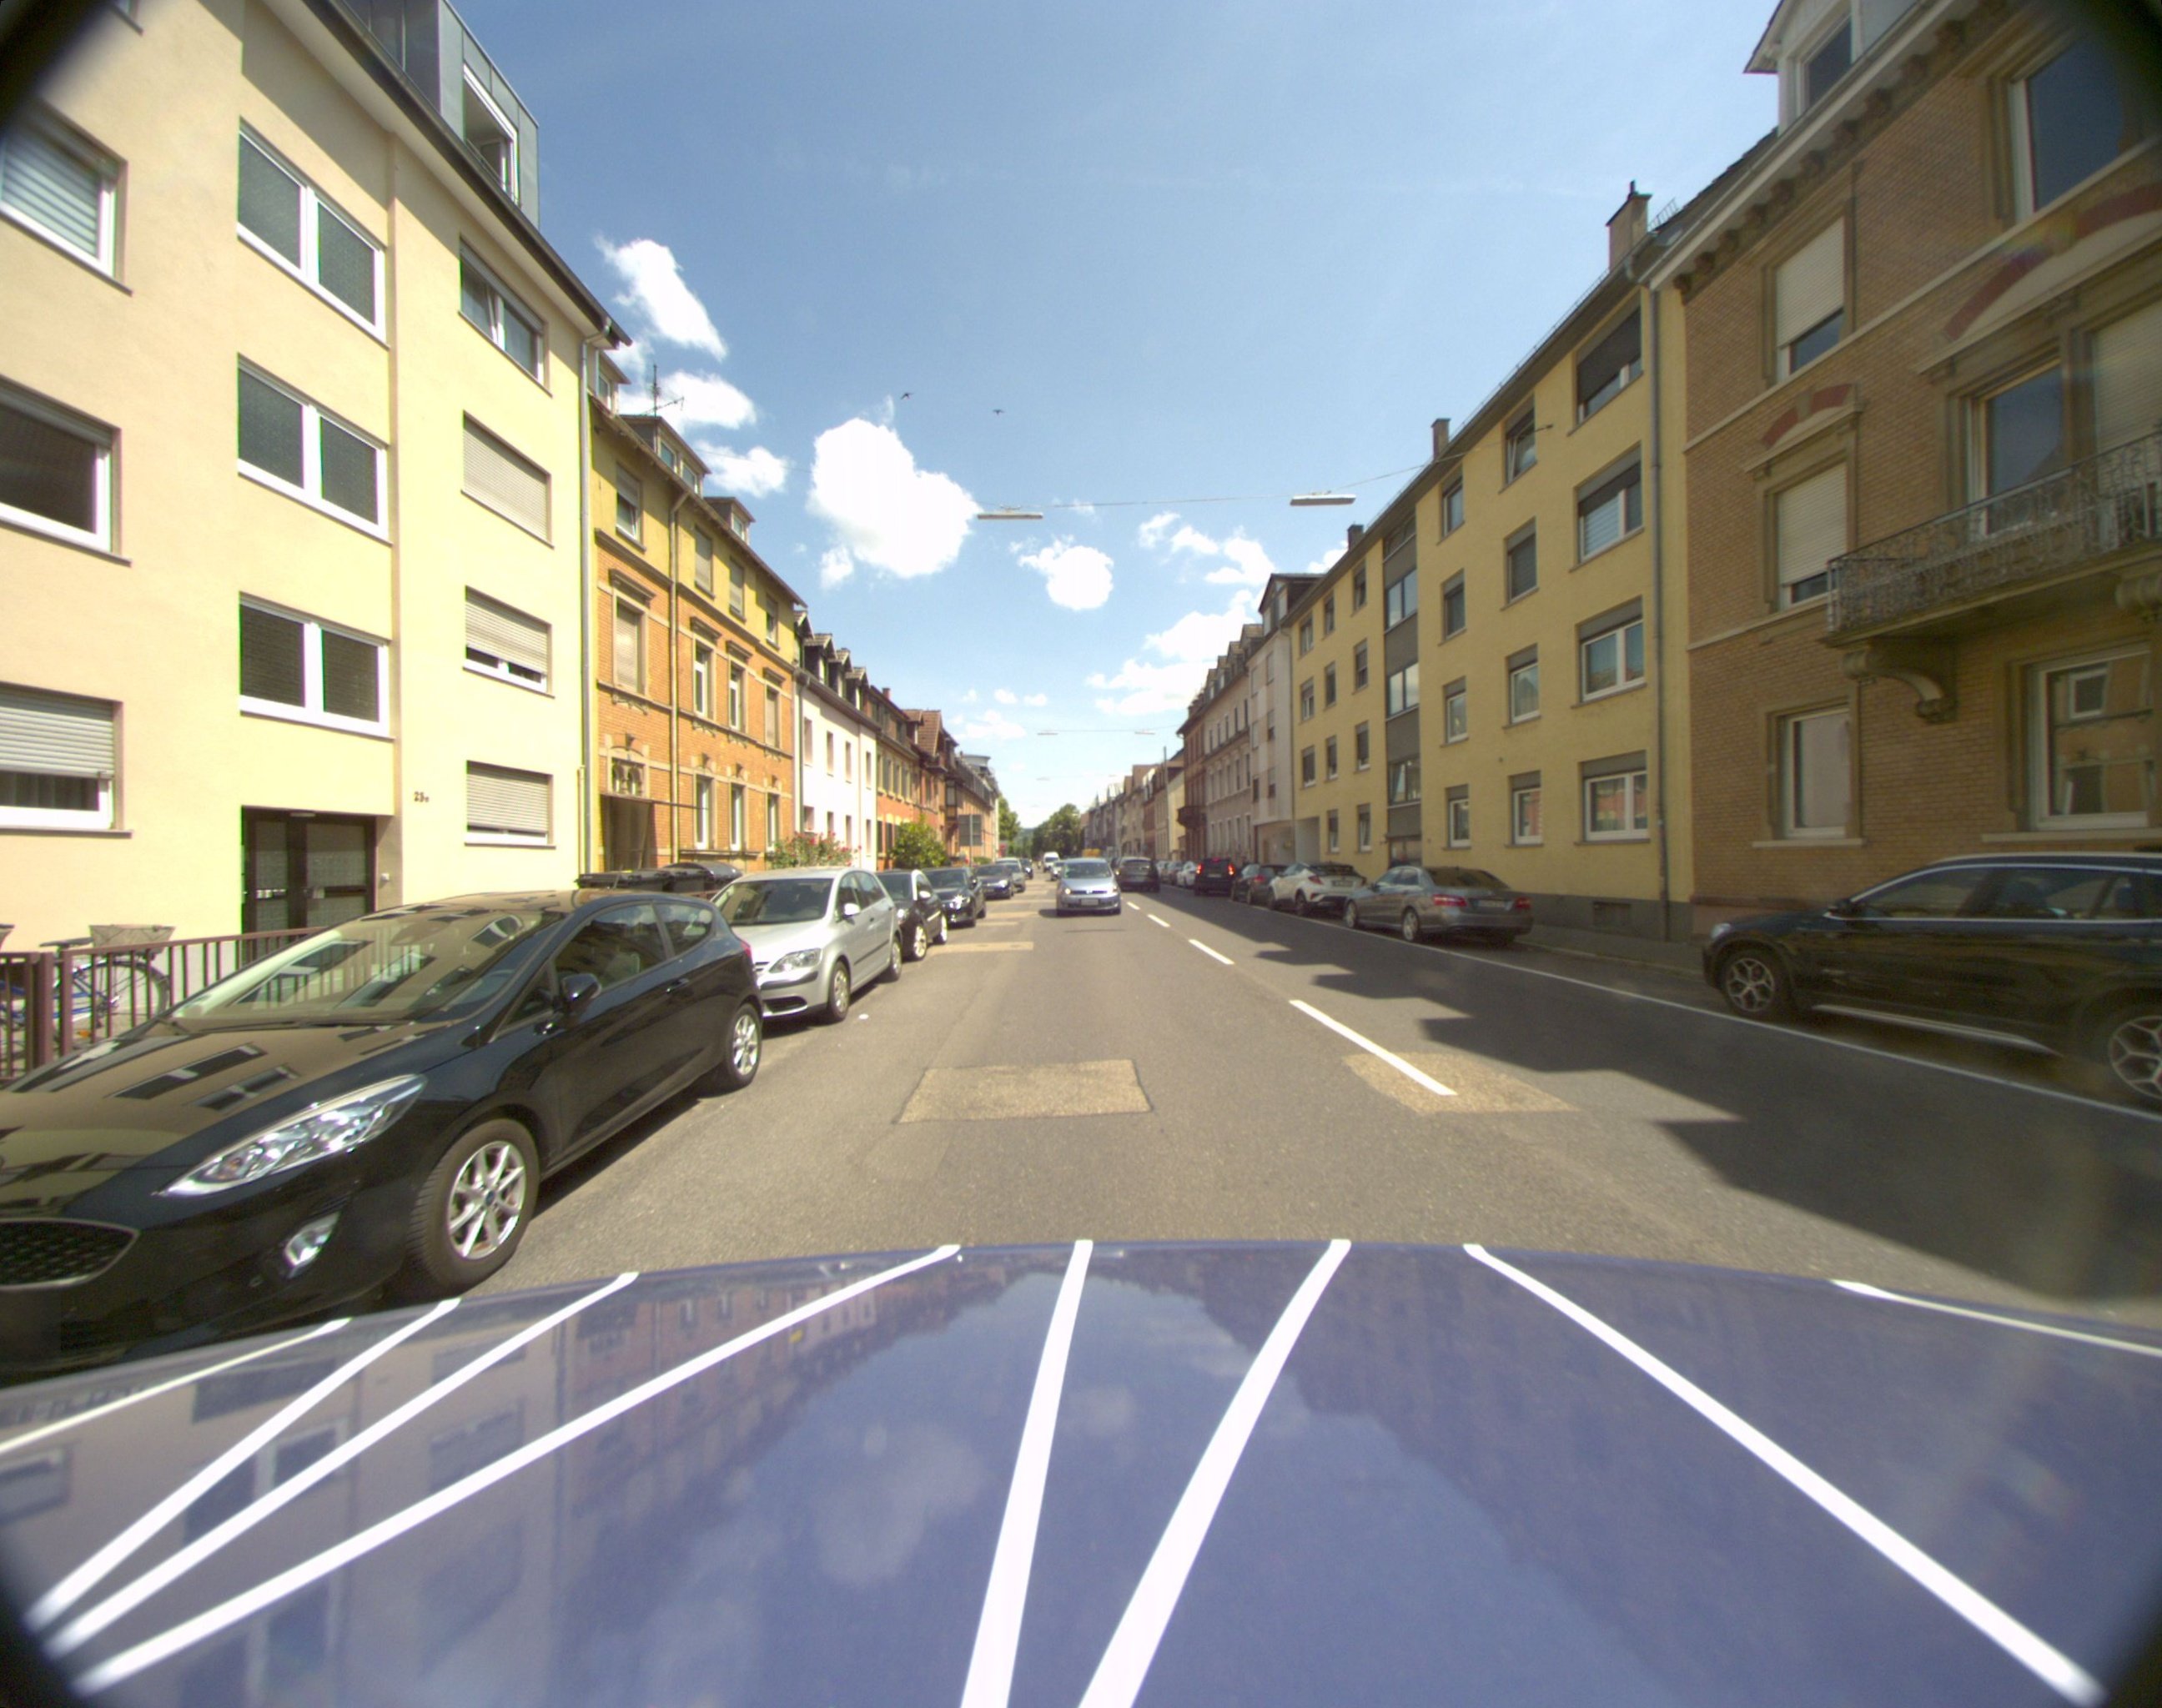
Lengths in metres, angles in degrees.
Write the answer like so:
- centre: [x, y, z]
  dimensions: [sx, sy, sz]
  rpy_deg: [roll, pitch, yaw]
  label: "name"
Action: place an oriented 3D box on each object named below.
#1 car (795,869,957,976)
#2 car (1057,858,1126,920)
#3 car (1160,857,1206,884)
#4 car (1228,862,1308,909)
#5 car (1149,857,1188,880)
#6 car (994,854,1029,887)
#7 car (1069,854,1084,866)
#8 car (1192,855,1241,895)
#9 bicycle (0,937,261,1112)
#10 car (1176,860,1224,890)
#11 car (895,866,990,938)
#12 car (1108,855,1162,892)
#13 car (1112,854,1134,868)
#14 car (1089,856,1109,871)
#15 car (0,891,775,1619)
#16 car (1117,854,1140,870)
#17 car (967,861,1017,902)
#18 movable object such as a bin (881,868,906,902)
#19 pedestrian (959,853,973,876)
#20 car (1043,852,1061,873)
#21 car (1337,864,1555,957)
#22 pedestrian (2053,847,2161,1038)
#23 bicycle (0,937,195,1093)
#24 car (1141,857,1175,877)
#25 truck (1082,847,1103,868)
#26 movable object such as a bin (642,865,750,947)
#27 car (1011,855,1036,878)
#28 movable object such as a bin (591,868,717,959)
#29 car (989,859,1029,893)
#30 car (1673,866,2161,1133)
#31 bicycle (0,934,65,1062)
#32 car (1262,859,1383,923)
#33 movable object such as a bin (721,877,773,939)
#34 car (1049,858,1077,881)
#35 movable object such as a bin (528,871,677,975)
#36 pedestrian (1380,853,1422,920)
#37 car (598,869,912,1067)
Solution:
- centre: [-3.439, 1.081, 13.542]
  dimensions: [1.762, 1.470, 3.931]
  rpy_deg: [-3, 0, -1]
  label: "car"
- centre: [0.224, 0.929, 21.919]
  dimensions: [1.759, 1.559, 3.999]
  rpy_deg: [-2, 0, -1]
  label: "car"
- centre: [5.958, 0.948, 44.760]
  dimensions: [1.750, 1.402, 4.511]
  rpy_deg: [2, 0, -4]
  label: "car"
- centre: [6.422, 1.043, 26.524]
  dimensions: [1.749, 1.402, 3.914]
  rpy_deg: [2, 0, -1]
  label: "car"
- centre: [5.844, 0.933, 51.110]
  dimensions: [1.750, 1.402, 4.102]
  rpy_deg: [2, 0, -5]
  label: "car"
- centre: [-3.905, 0.920, 43.332]
  dimensions: [1.709, 1.700, 3.930]
  rpy_deg: [-3, 0, -2]
  label: "car"
- centre: [-0.639, 0.727, 98.430]
  dimensions: [1.810, 1.522, 3.999]
  rpy_deg: [1, 0, -2]
  label: "car"
- centre: [5.944, 0.875, 33.034]
  dimensions: [1.747, 1.579, 3.957]
  rpy_deg: [2, 0, 14]
  label: "car"
- centre: [-7.125, 1.174, 5.449]
  dimensions: [0.552, 0.977, 1.631]
  rpy_deg: [-1, 0, 10]
  label: "bicycle"
- centre: [6.093, 1.050, 39.350]
  dimensions: [1.749, 1.402, 4.284]
  rpy_deg: [2, 0, -1]
  label: "car"
- centre: [-3.413, 1.125, 19.479]
  dimensions: [1.762, 1.470, 4.418]
  rpy_deg: [-3, 0, -3]
  label: "car"
- centre: [2.470, 0.871, 35.710]
  dimensions: [1.913, 1.601, 4.445]
  rpy_deg: [0, 0, -4]
  label: "car"
- centre: [4.408, 0.742, 80.030]
  dimensions: [1.665, 1.402, 4.102]
  rpy_deg: [2, 0, -5]
  label: "car"
- centre: [1.766, 0.916, 76.420]
  dimensions: [1.810, 1.425, 3.999]
  rpy_deg: [1, 0, -2]
  label: "car"
- centre: [-3.191, 1.058, 3.689]
  dimensions: [1.762, 1.470, 3.931]
  rpy_deg: [-3, 0, -1]
  label: "car"
- centre: [4.636, 0.778, 74.911]
  dimensions: [1.665, 1.402, 4.102]
  rpy_deg: [2, 0, -5]
  label: "car"
- centre: [-3.648, 1.102, 31.696]
  dimensions: [1.709, 1.470, 3.930]
  rpy_deg: [-3, 0, -2]
  label: "car"
- centre: [-7.008, 1.139, 28.433]
  dimensions: [0.753, 1.234, 0.877]
  rpy_deg: [-1, 0, -3]
  label: "movable object such as a bin"
- centre: [-9.649, 0.886, 63.667]
  dimensions: [1.057, 1.851, 0.981]
  rpy_deg: [-1, 0, -2]
  label: "pedestrian"
- centre: [-3.236, 0.917, 85.443]
  dimensions: [1.905, 2.261, 5.670]
  rpy_deg: [-2, 0, -3]
  label: "car"
- centre: [6.898, 0.973, 15.057]
  dimensions: [1.910, 1.443, 4.685]
  rpy_deg: [2, 0, -2]
  label: "car"
- centre: [9.109, 0.711, 6.367]
  dimensions: [0.804, 1.525, 0.876]
  rpy_deg: [-1, 0, 3]
  label: "pedestrian"
- centre: [-7.736, 1.177, 5.512]
  dimensions: [0.552, 0.977, 1.631]
  rpy_deg: [-1, 0, 10]
  label: "bicycle"
- centre: [5.694, 0.957, 56.725]
  dimensions: [1.750, 1.402, 4.102]
  rpy_deg: [2, 0, -5]
  label: "car"
- centre: [1.584, 0.457, 106.662]
  dimensions: [2.324, 2.724, 8.066]
  rpy_deg: [-1, 0, -3]
  label: "truck"
- centre: [-7.016, 0.923, 13.935]
  dimensions: [1.285, 1.402, 1.304]
  rpy_deg: [-1, 0, -1]
  label: "movable object such as a bin"
- centre: [-4.523, 0.970, 60.245]
  dimensions: [1.709, 1.618, 3.930]
  rpy_deg: [-3, 0, -2]
  label: "car"
- centre: [-7.012, 0.947, 12.582]
  dimensions: [1.285, 1.388, 1.364]
  rpy_deg: [-1, 0, -1]
  label: "movable object such as a bin"
- centre: [-3.525, 1.033, 37.742]
  dimensions: [1.709, 1.470, 3.930]
  rpy_deg: [-3, 0, -2]
  label: "car"
- centre: [7.345, 0.932, 5.836]
  dimensions: [1.870, 1.542, 4.499]
  rpy_deg: [2, 0, -3]
  label: "car"
- centre: [-8.821, 1.168, 5.603]
  dimensions: [0.552, 0.977, 1.629]
  rpy_deg: [-1, 0, -6]
  label: "bicycle"
- centre: [6.634, 0.952, 21.414]
  dimensions: [1.870, 1.542, 4.312]
  rpy_deg: [2, 0, -2]
  label: "car"
- centre: [-6.734, 1.078, 15.345]
  dimensions: [0.723, 1.181, 0.747]
  rpy_deg: [-1, 0, -3]
  label: "movable object such as a bin"
- centre: [-1.286, 1.090, 55.023]
  dimensions: [1.905, 1.489, 4.487]
  rpy_deg: [-2, 0, 0]
  label: "car"
- centre: [-6.959, 0.969, 11.167]
  dimensions: [1.285, 1.388, 1.412]
  rpy_deg: [-1, 0, -1]
  label: "movable object such as a bin"
- centre: [8.548, 0.862, 20.354]
  dimensions: [0.804, 1.745, 0.876]
  rpy_deg: [-1, 0, 6]
  label: "pedestrian"
- centre: [-3.291, 1.034, 8.660]
  dimensions: [1.762, 1.542, 4.065]
  rpy_deg: [-3, 0, -1]
  label: "car"
